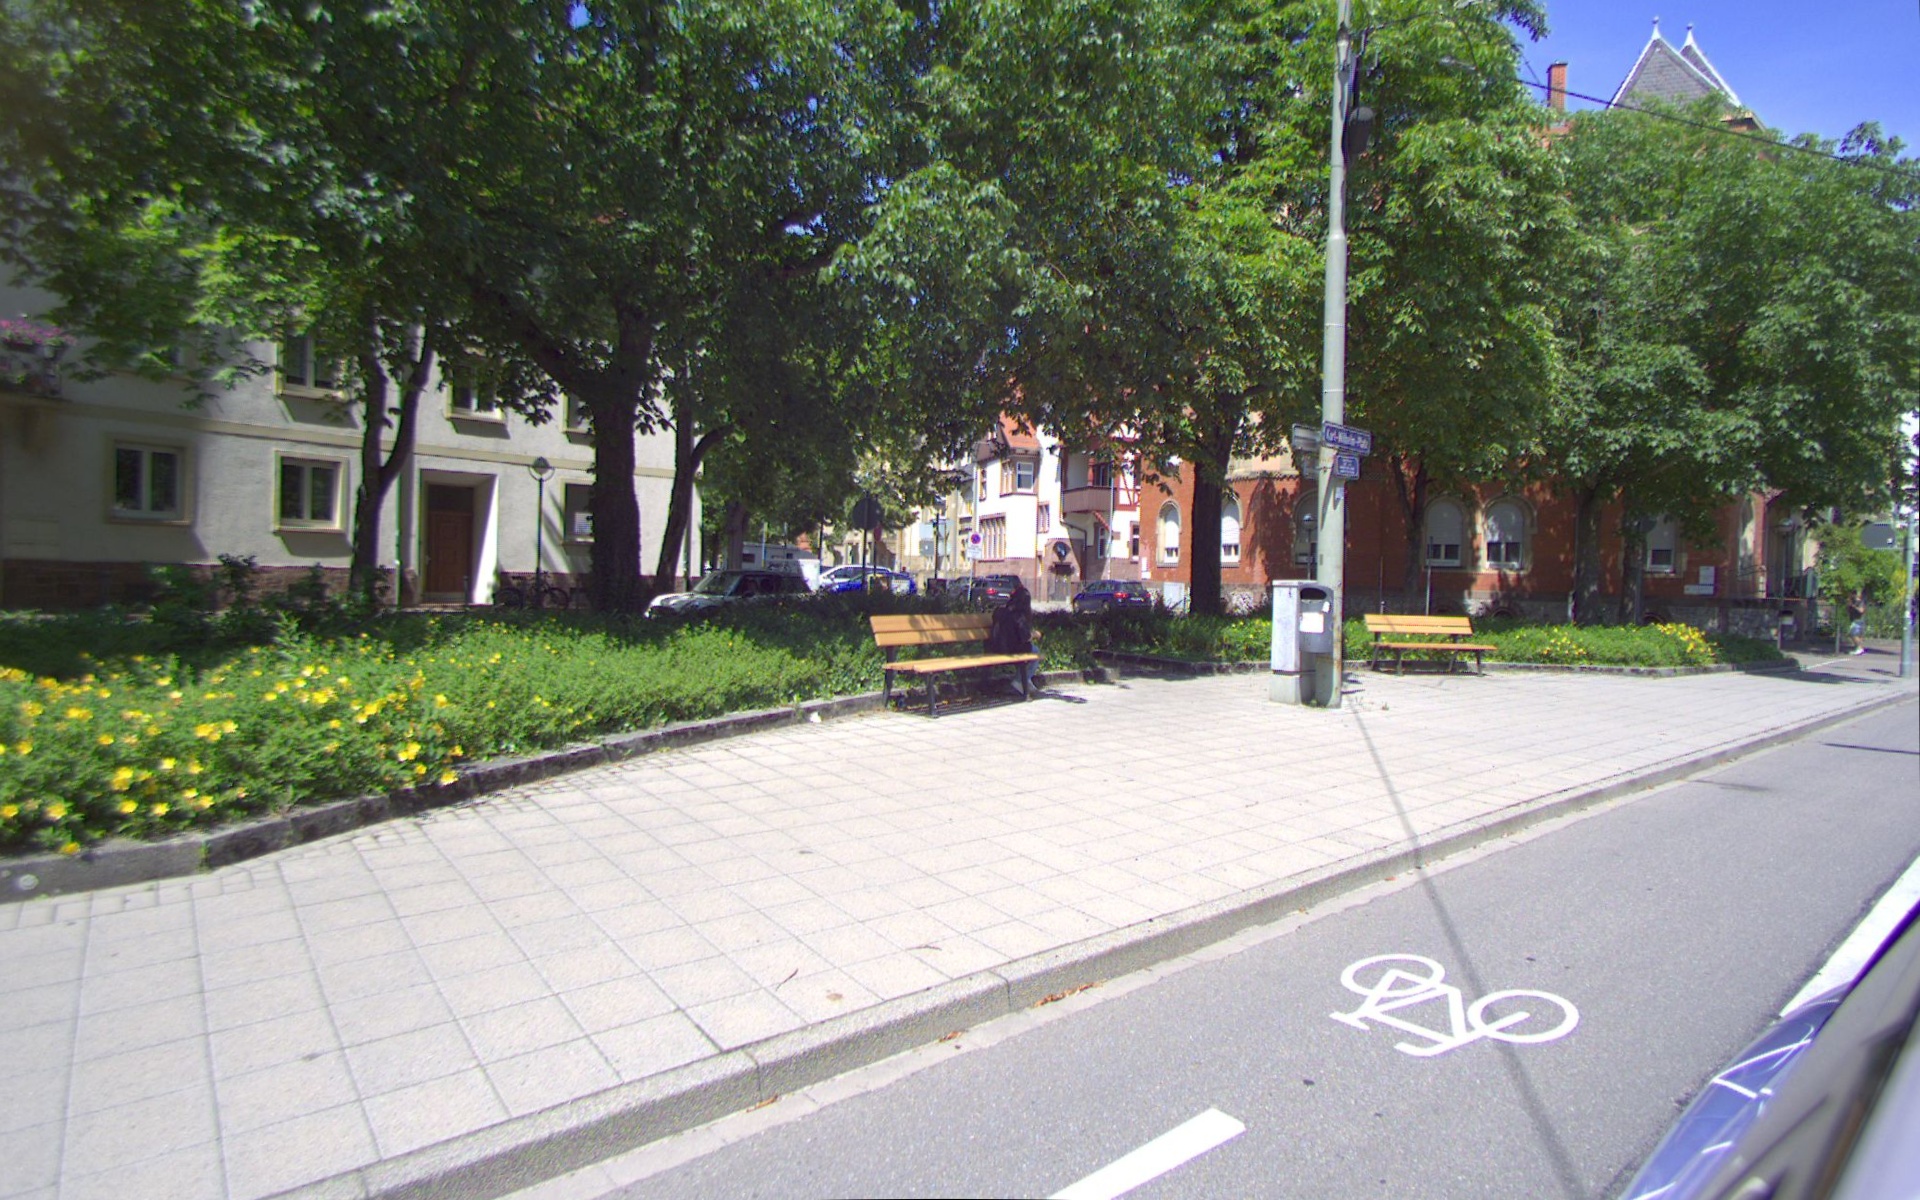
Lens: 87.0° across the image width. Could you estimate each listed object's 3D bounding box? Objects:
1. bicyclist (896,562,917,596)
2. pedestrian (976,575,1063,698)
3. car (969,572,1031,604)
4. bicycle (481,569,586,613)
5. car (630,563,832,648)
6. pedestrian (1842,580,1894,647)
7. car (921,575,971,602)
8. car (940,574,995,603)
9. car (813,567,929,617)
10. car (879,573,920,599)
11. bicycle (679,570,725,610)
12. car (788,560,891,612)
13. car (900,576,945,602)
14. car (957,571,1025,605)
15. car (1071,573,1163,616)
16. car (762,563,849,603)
[{"bbox_3d":[-2.747,-1.055,51.963,0.856,1.717,1.257,0,0,-15],"label":"bicyclist"},{"bbox_3d":[0.596,0.337,10.074,0.562,1.156,0.718,3,2,33],"label":"pedestrian"},{"bbox_3d":[2.067,-0.622,54.075,1.897,1.638,4.318,0,0,-19],"label":"car"},{"bbox_3d":[-10.254,-0.223,24.376,2.230,1.024,0.751,-1,0,-41],"label":"bicycle"},{"bbox_3d":[-4.520,0.100,20.279,1.700,1.525,3.594,2,1,44],"label":"car"},{"bbox_3d":[25.578,0.371,28.511,0.827,1.846,0.670,2,1,17],"label":"pedestrian"},{"bbox_3d":[-0.917,-0.695,63.252,1.897,1.638,4.318,0,0,-19],"label":"car"},{"bbox_3d":[0.380,-0.658,58.682,1.897,1.638,4.318,0,0,-19],"label":"car"},{"bbox_3d":[-3.544,-0.324,40.016,4.219,1.903,1.942,0,0,-18],"label":"car"},{"bbox_3d":[-4.501,-1.011,74.462,1.897,1.897,4.318,0,0,-19],"label":"car"},{"bbox_3d":[-6.776,-0.260,26.475,0.736,1.024,2.273,0,0,-26],"label":"bicycle"},{"bbox_3d":[-5.372,-0.631,44.829,4.219,2.219,1.942,0,0,-18],"label":"car"},{"bbox_3d":[-2.565,-0.731,67.949,1.897,1.638,4.318,0,0,-19],"label":"car"},{"bbox_3d":[1.395,-0.563,48.163,1.897,1.501,5.045,0,0,-15],"label":"car"},{"bbox_3d":[6.275,-0.235,41.025,1.897,1.638,4.318,0,0,-19],"label":"car"},{"bbox_3d":[-8.084,-0.886,52.938,4.219,2.029,1.942,0,0,-18],"label":"car"}]
